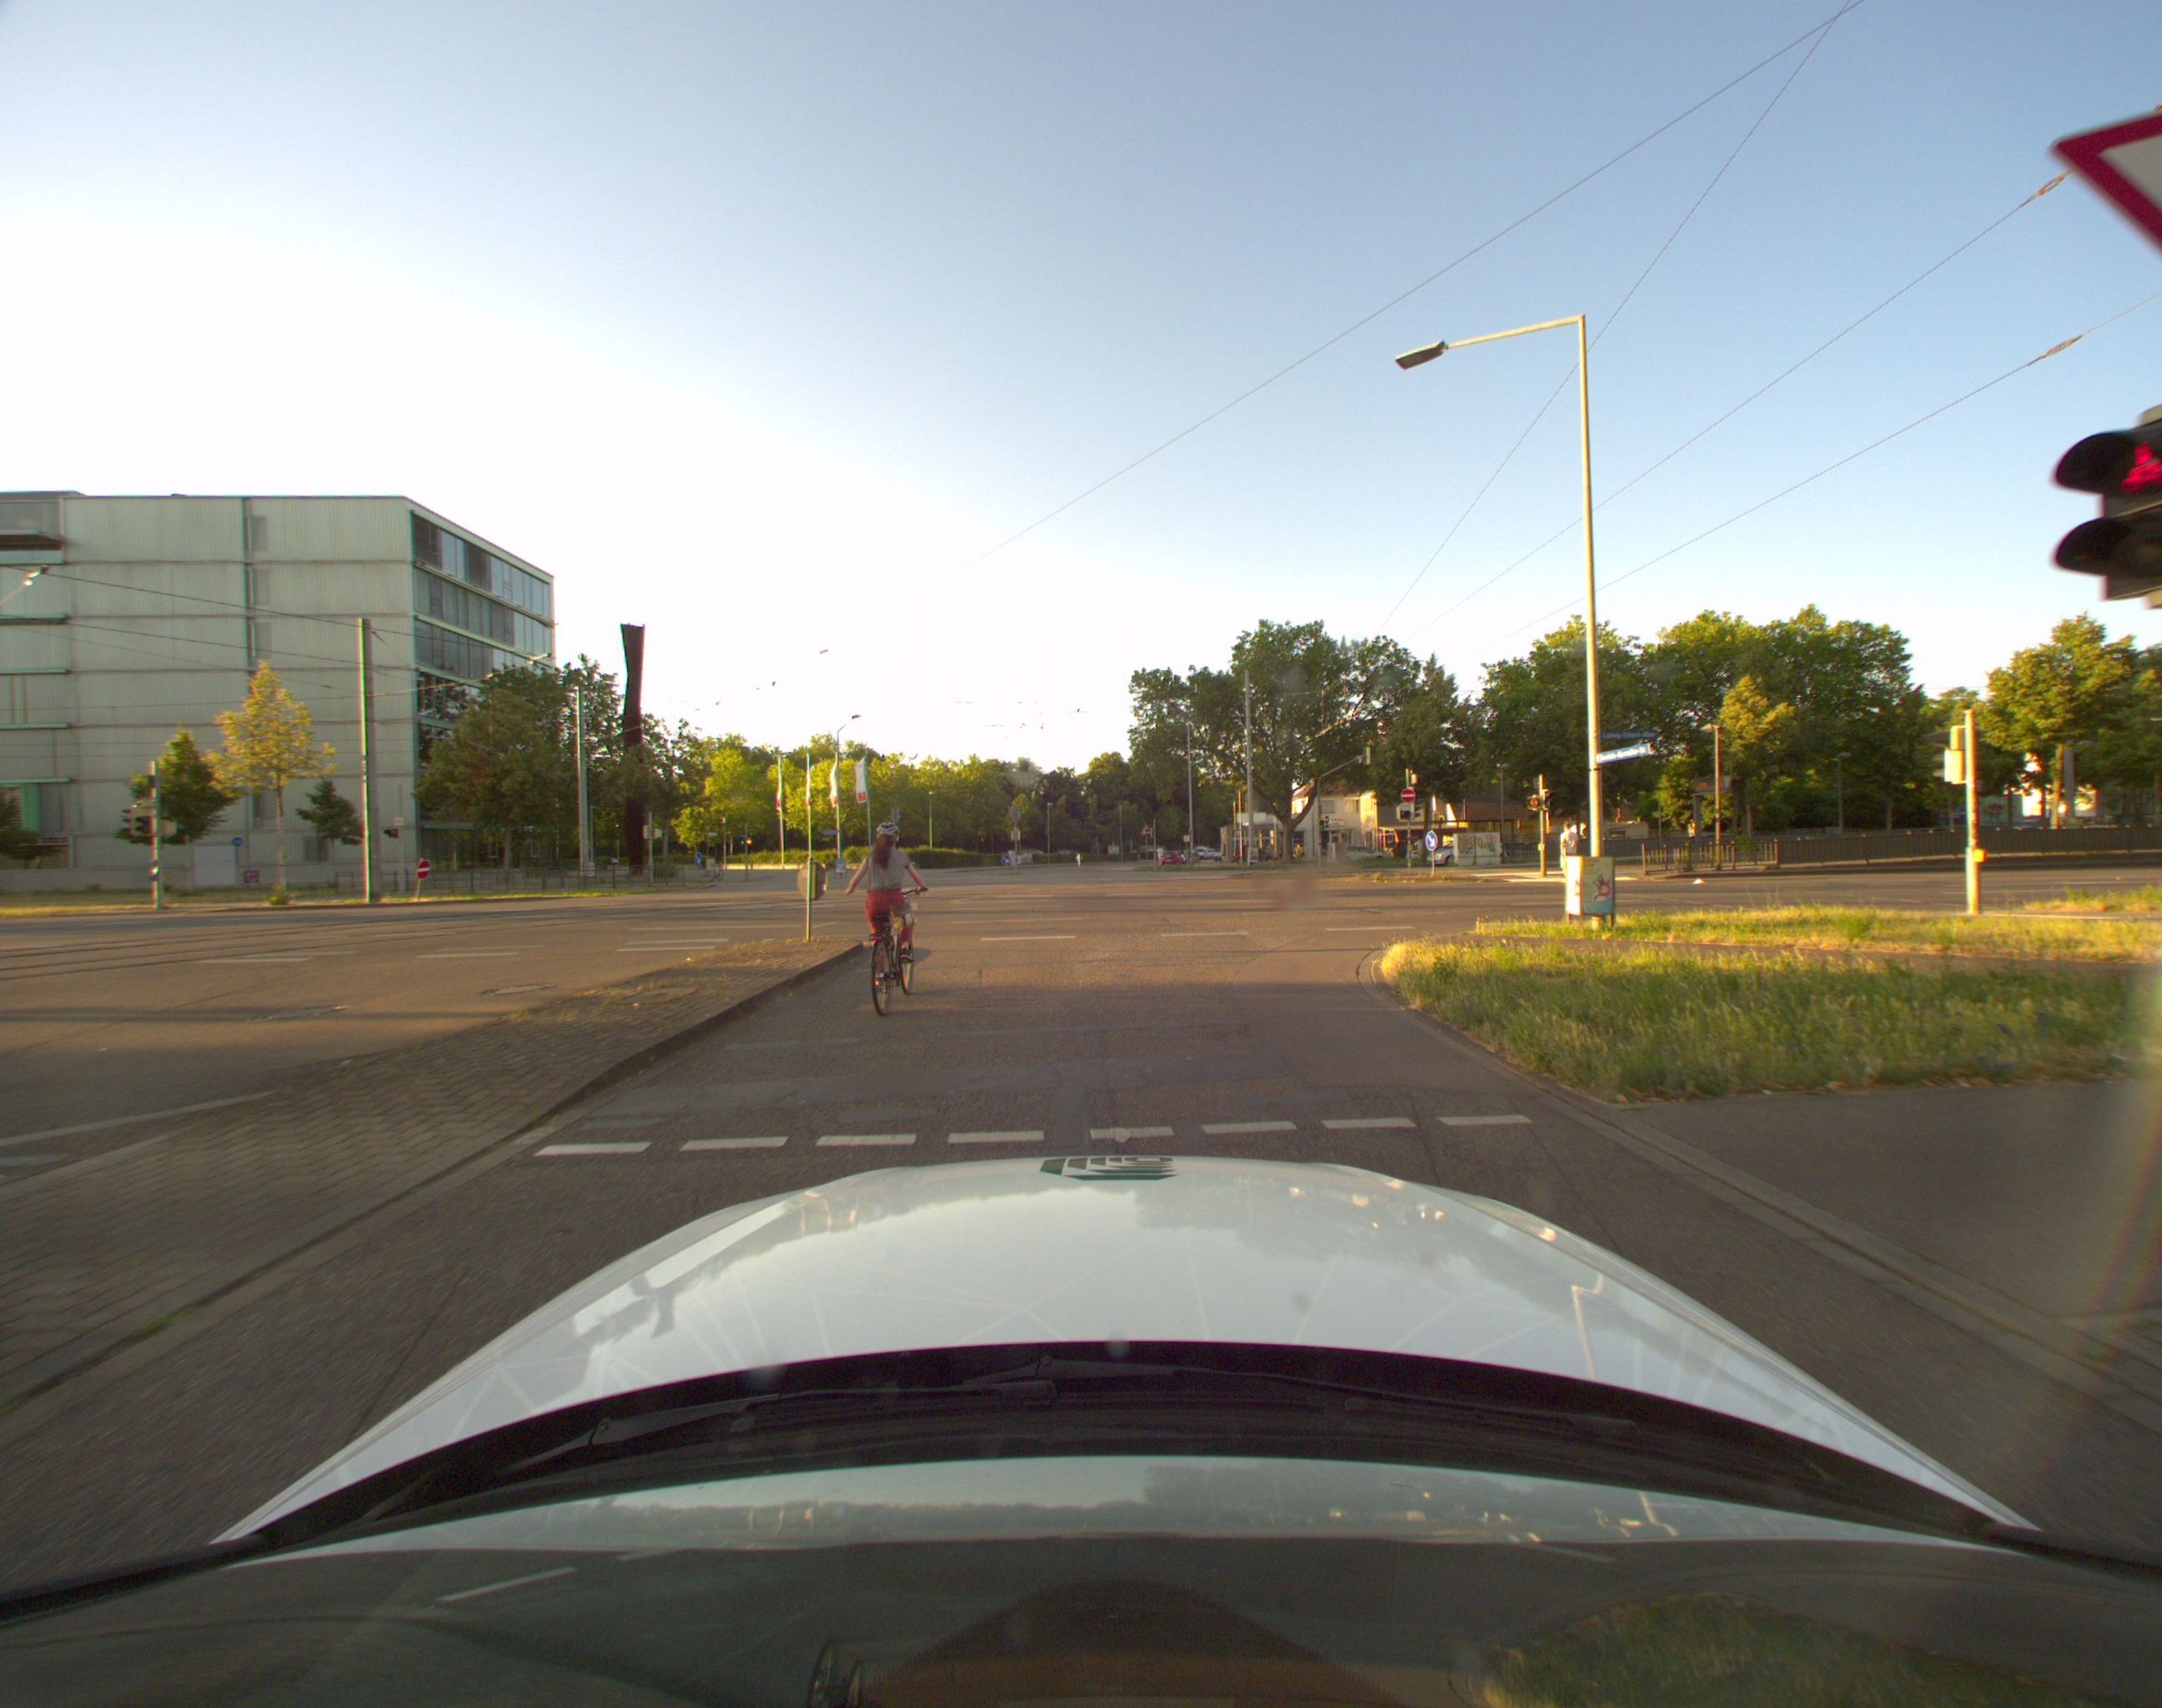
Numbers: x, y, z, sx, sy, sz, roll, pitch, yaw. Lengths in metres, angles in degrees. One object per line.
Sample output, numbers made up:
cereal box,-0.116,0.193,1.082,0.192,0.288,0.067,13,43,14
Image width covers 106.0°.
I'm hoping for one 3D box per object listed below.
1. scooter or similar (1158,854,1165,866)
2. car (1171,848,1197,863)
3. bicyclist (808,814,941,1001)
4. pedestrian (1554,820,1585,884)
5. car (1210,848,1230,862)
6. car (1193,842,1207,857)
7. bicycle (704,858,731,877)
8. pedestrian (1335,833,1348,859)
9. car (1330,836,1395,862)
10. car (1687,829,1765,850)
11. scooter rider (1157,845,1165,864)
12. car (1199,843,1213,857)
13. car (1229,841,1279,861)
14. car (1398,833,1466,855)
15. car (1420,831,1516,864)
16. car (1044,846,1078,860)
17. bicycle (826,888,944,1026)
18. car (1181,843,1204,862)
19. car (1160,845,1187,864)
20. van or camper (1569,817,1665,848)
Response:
scooter or similar,7.759,0.581,78.474,0.508,1.090,1.243,-1,0,0
car,11.193,0.135,88.116,1.977,1.574,4.020,-1,1,19
bicyclist,-2.000,0.491,8.053,1.028,1.717,0.996,-1,0,-1
pedestrian,14.166,-0.063,23.643,0.754,1.791,0.807,0,0,30
car,17.779,0.119,103.804,1.900,1.602,4.019,-1,1,18
car,17.507,-0.661,119.866,1.983,2.013,4.008,-1,0,7
bicycle,-22.984,0.855,51.497,0.697,1.136,2.390,-1,0,-3
pedestrian,18.177,-0.540,56.770,0.712,1.754,0.902,-1,0,24
car,21.105,-0.379,61.204,4.213,1.846,2.001,-1,0,2
car,48.566,-1.068,61.377,4.213,1.464,2.001,-1,0,2
scooter rider,7.710,0.066,78.509,0.700,1.855,0.669,-1,-1,-1
car,19.110,-0.661,124.460,1.983,2.013,4.008,-1,0,7
car,16.463,-0.288,77.642,4.356,1.835,1.951,-1,0,4
car,26.119,-0.745,60.645,4.213,1.577,2.001,-1,0,2
car,21.636,-0.370,45.659,4.526,1.728,1.859,-1,0,-5
car,-2.354,-0.079,98.003,3.972,1.561,2.001,-1,0,1
bicycle,-1.864,0.928,8.055,0.632,1.068,2.122,-1,0,0
car,12.640,-0.166,91.950,1.900,2.047,4.019,-1,0,18
car,9.569,0.055,84.302,1.852,1.874,3.895,-1,1,21
van or camper,45.167,-1.803,68.756,6.534,2.410,2.267,-1,-1,4
